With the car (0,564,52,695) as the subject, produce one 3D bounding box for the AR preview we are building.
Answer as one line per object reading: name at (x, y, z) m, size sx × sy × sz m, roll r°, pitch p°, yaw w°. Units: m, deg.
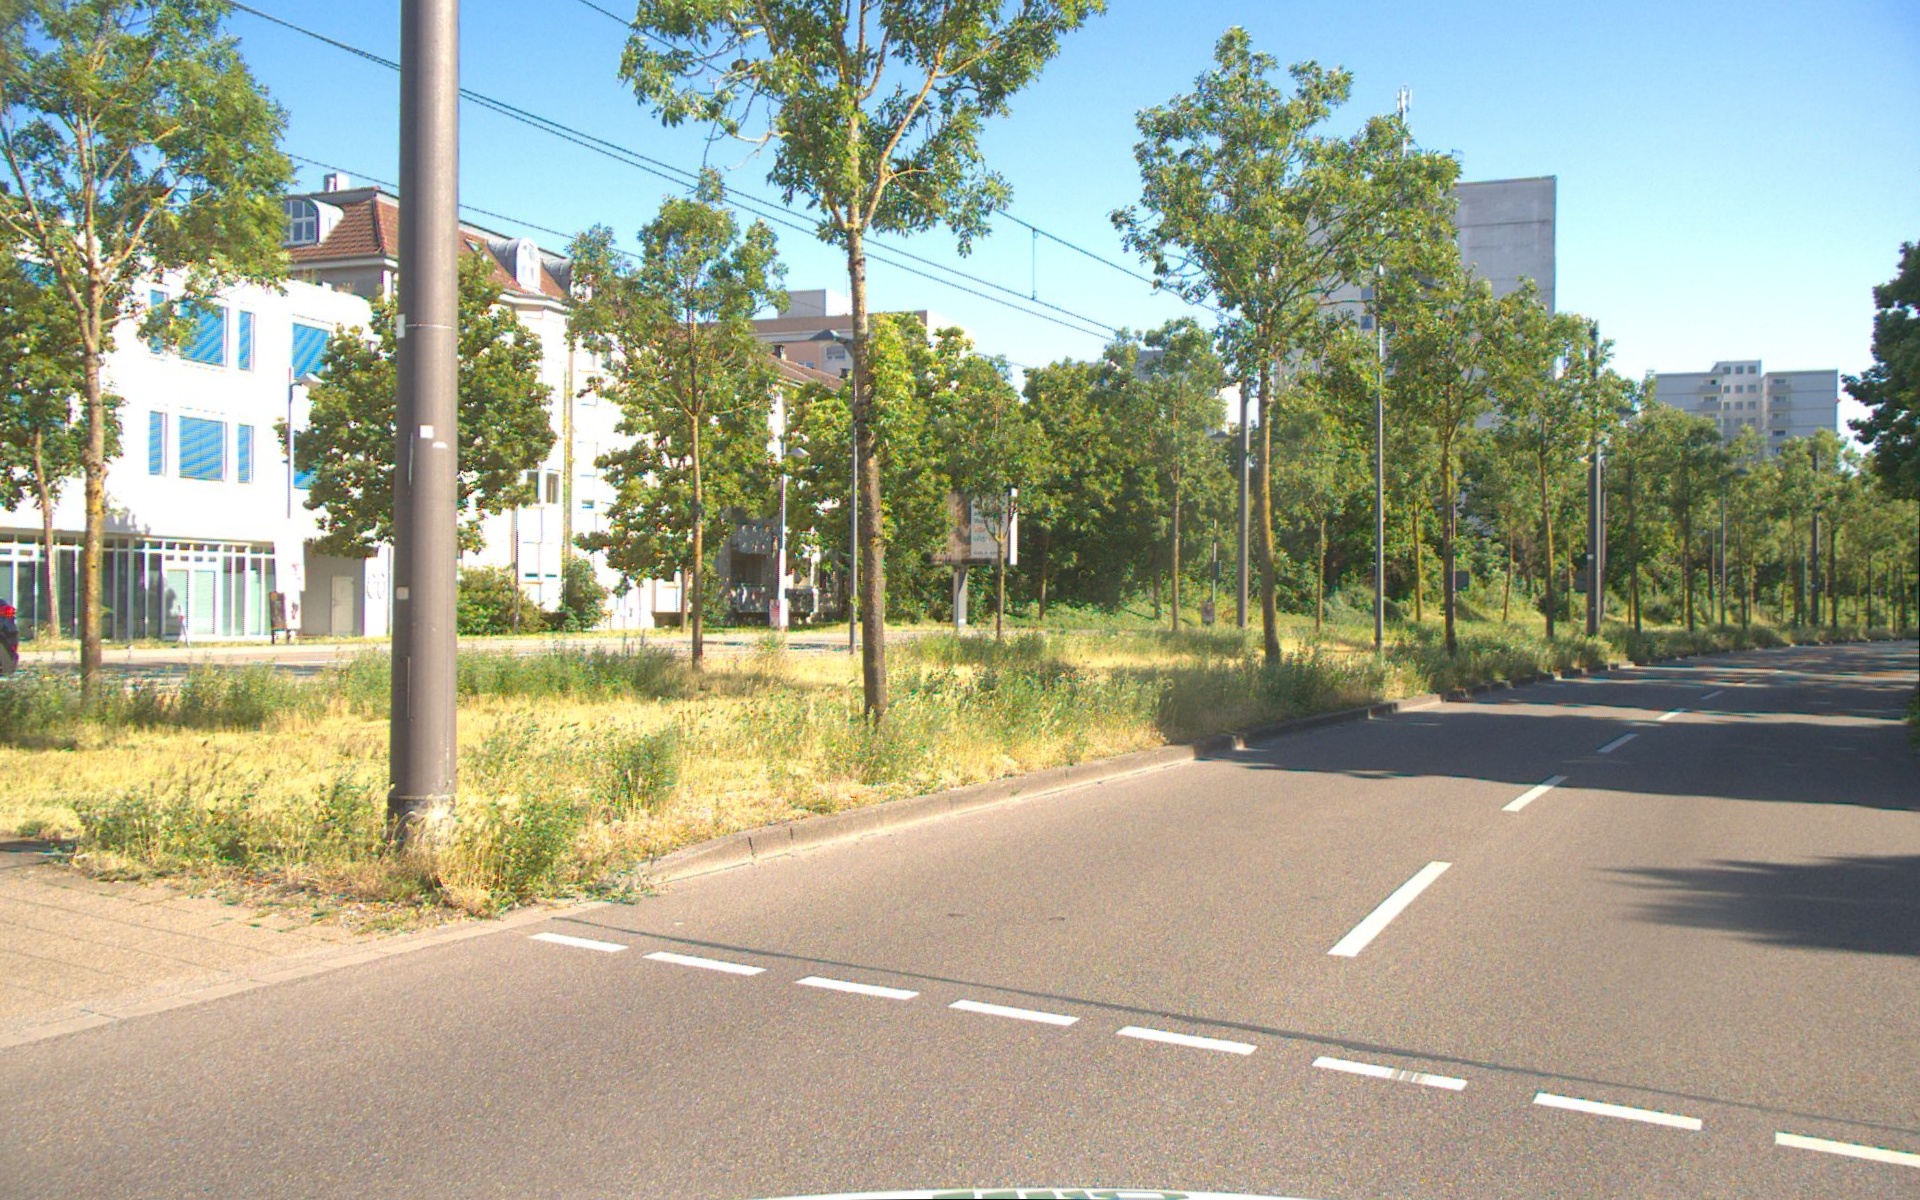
car at (-13.673, 0.367, 19.884) m, size 1.956 × 1.638 × 4.508 m, roll 0°, pitch 0°, yaw 29°
